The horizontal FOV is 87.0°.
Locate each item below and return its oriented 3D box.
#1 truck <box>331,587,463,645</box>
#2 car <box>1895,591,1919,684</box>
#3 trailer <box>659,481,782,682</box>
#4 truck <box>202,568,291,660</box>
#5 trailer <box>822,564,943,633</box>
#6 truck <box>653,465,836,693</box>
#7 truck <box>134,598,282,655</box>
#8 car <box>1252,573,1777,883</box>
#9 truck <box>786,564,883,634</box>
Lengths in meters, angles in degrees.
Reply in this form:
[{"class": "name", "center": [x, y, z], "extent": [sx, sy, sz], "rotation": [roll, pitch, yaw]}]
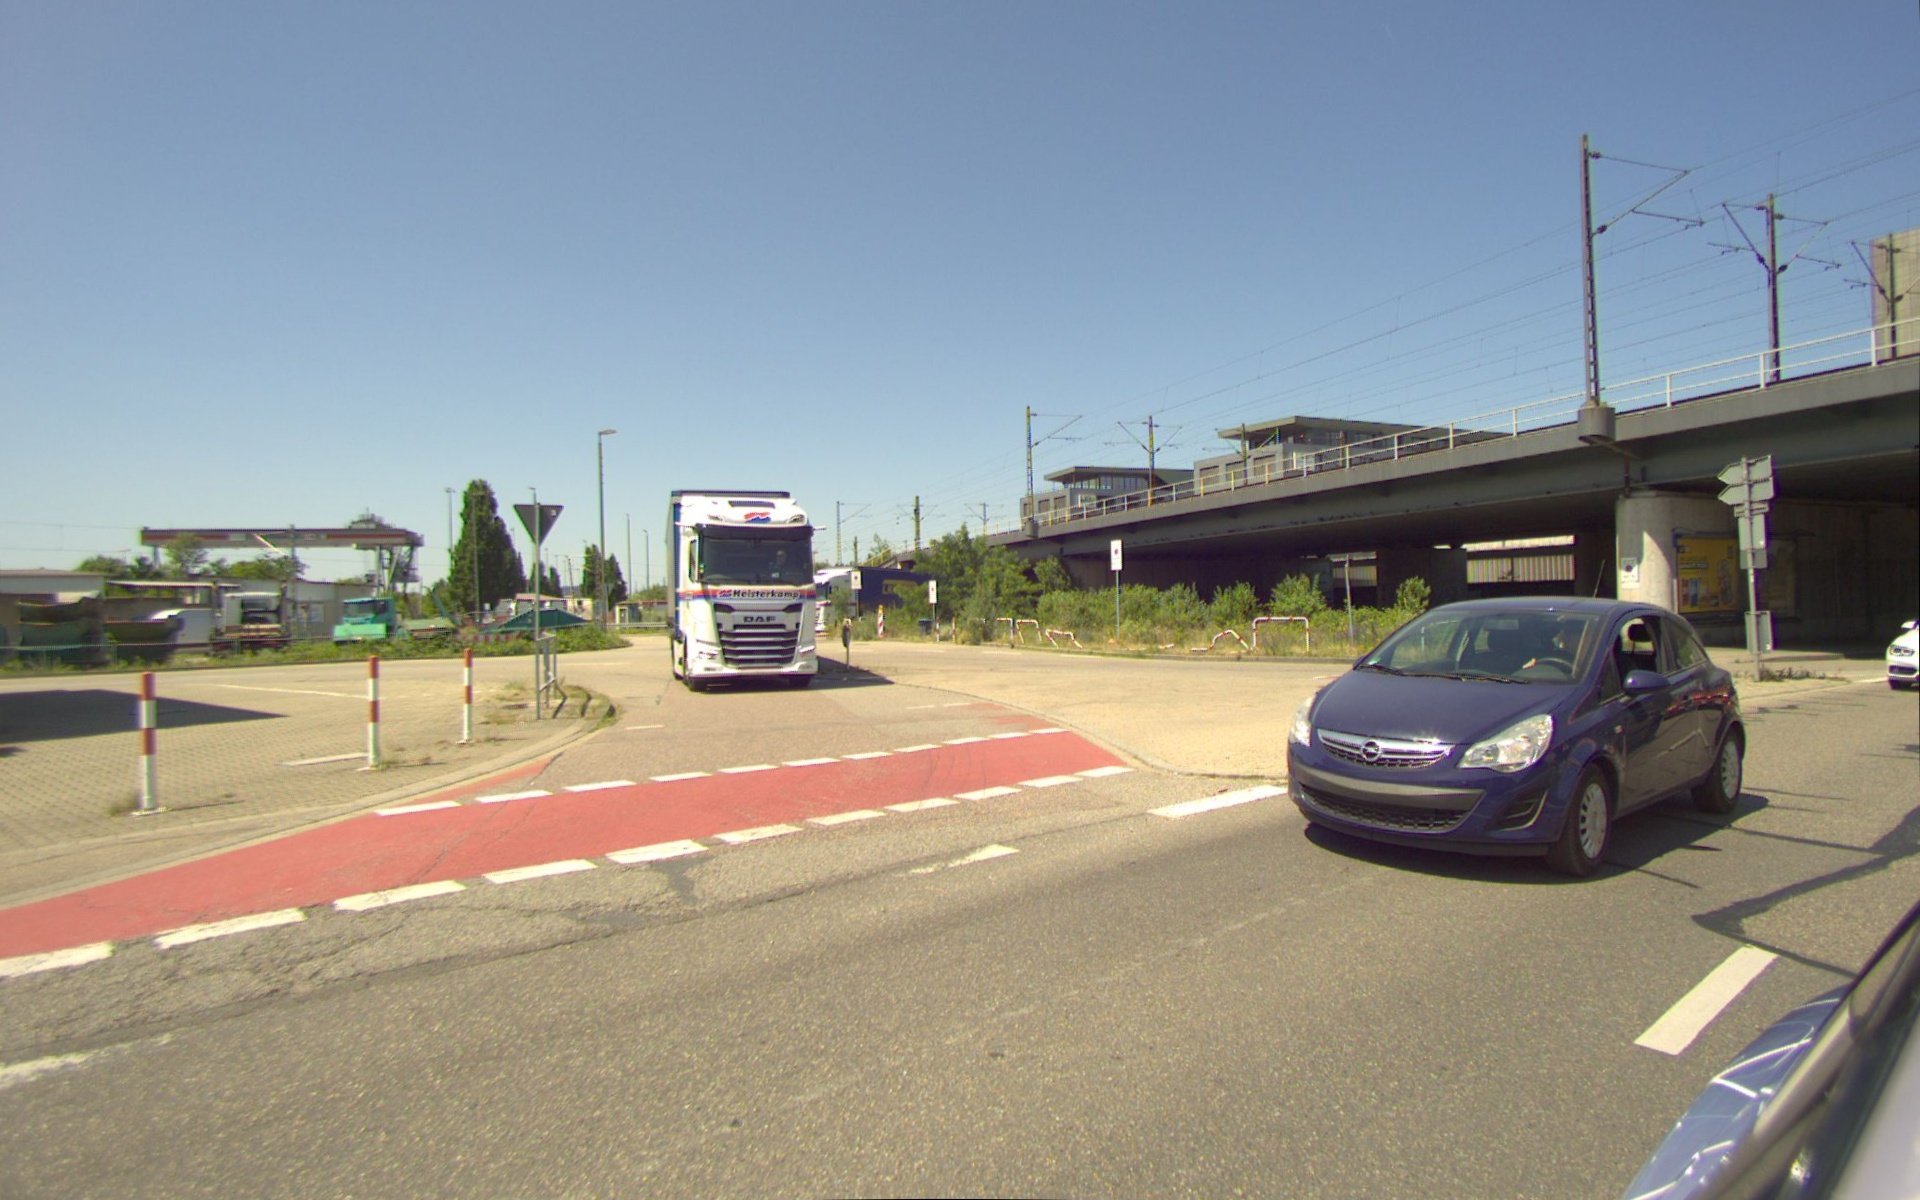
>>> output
[{"class": "truck", "center": [-34.874, 0.894, 63.056], "extent": [2.763, 3.411, 7.522], "rotation": [-1, 0, 15]}, {"class": "car", "center": [17.076, 0.608, 16.537], "extent": [3.975, 1.461, 1.765], "rotation": [0, 1, -34]}, {"class": "trailer", "center": [-6.857, -0.308, 27.880], "extent": [2.448, 4.142, 13.931], "rotation": [-1, -1, -16]}, {"class": "truck", "center": [-29.199, 0.530, 41.625], "extent": [2.669, 3.424, 7.405], "rotation": [0, 0, -33]}, {"class": "trailer", "center": [-4.828, -0.153, 66.145], "extent": [2.560, 4.176, 9.936], "rotation": [-1, 0, 31]}, {"class": "truck", "center": [-4.788, -0.417, 21.608], "extent": [2.523, 4.153, 5.771], "rotation": [-1, 0, -25]}, {"class": "truck", "center": [-40.708, 1.363, 55.029], "extent": [2.617, 2.825, 6.072], "rotation": [-1, 0, 19]}, {"class": "car", "center": [3.764, 0.612, 6.624], "extent": [3.820, 1.462, 1.650], "rotation": [0, -1, -38]}, {"class": "truck", "center": [-7.573, -0.087, 61.716], "extent": [2.573, 4.089, 6.136], "rotation": [-1, 0, 32]}]
